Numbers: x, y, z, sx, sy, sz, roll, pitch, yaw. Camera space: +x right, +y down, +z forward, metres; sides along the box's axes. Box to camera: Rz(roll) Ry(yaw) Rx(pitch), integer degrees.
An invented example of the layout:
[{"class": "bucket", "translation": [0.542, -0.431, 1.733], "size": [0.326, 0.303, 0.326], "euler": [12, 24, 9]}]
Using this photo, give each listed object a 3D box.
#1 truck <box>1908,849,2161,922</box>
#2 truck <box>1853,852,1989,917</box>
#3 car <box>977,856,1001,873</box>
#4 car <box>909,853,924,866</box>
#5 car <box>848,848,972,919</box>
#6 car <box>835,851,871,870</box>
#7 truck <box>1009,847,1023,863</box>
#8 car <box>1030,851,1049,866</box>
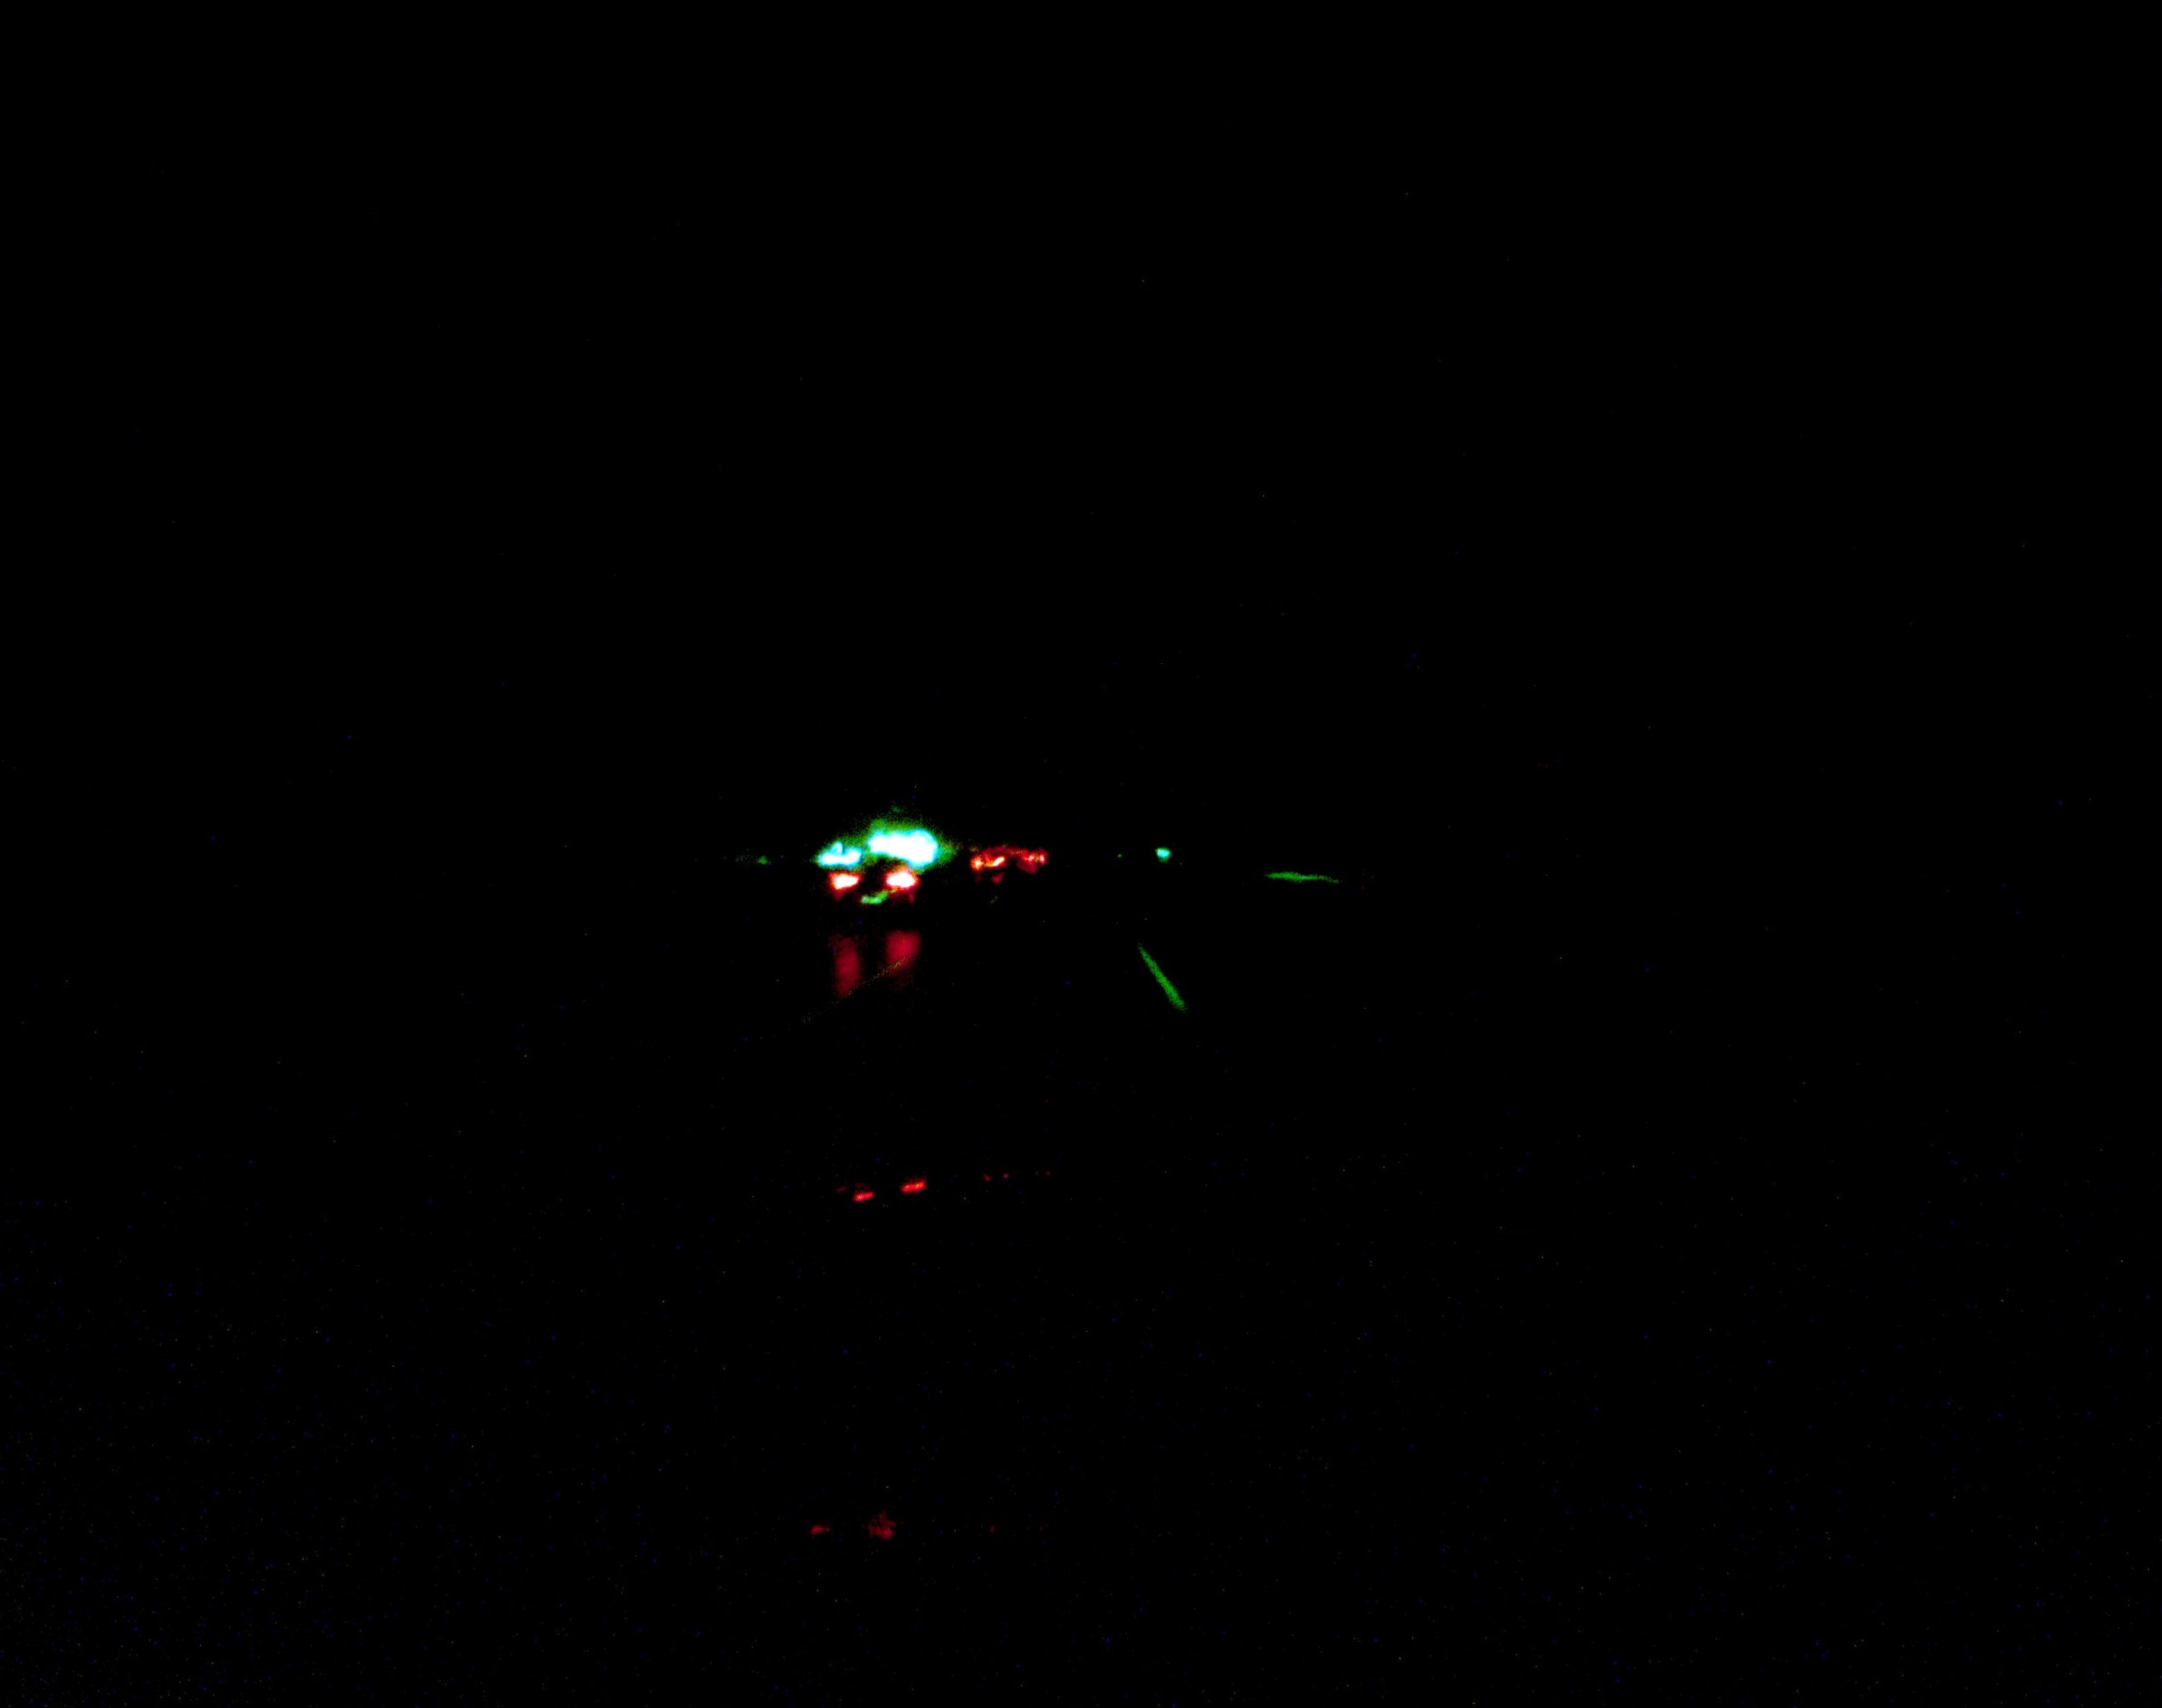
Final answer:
[{"class": "truck", "translation": [61.678, 1.894, 50.930], "size": [2.779, 4.223, 13.675], "euler": [0, -1, -36]}, {"class": "truck", "translation": [57.870, 2.015, 56.247], "size": [2.779, 4.223, 6.127], "euler": [0, -1, -36]}, {"class": "car", "translation": [-6.971, 0.798, 61.325], "size": [1.661, 1.236, 3.750], "euler": [0, -1, -9]}, {"class": "car", "translation": [-19.396, 0.637, 96.263], "size": [1.573, 1.492, 3.987], "euler": [0, 0, -9]}, {"class": "car", "translation": [-4.262, 0.701, 21.168], "size": [1.850, 1.541, 4.755], "euler": [3, 0, 4]}, {"class": "car", "translation": [-18.715, 0.537, 67.006], "size": [1.988, 1.492, 3.997], "euler": [0, 0, -2]}, {"class": "truck", "translation": [-13.299, 0.203, 167.523], "size": [1.995, 3.043, 6.436], "euler": [0, -1, -13]}, {"class": "car", "translation": [-4.329, 0.449, 85.168], "size": [1.796, 1.487, 3.999], "euler": [2, 0, 0]}]
